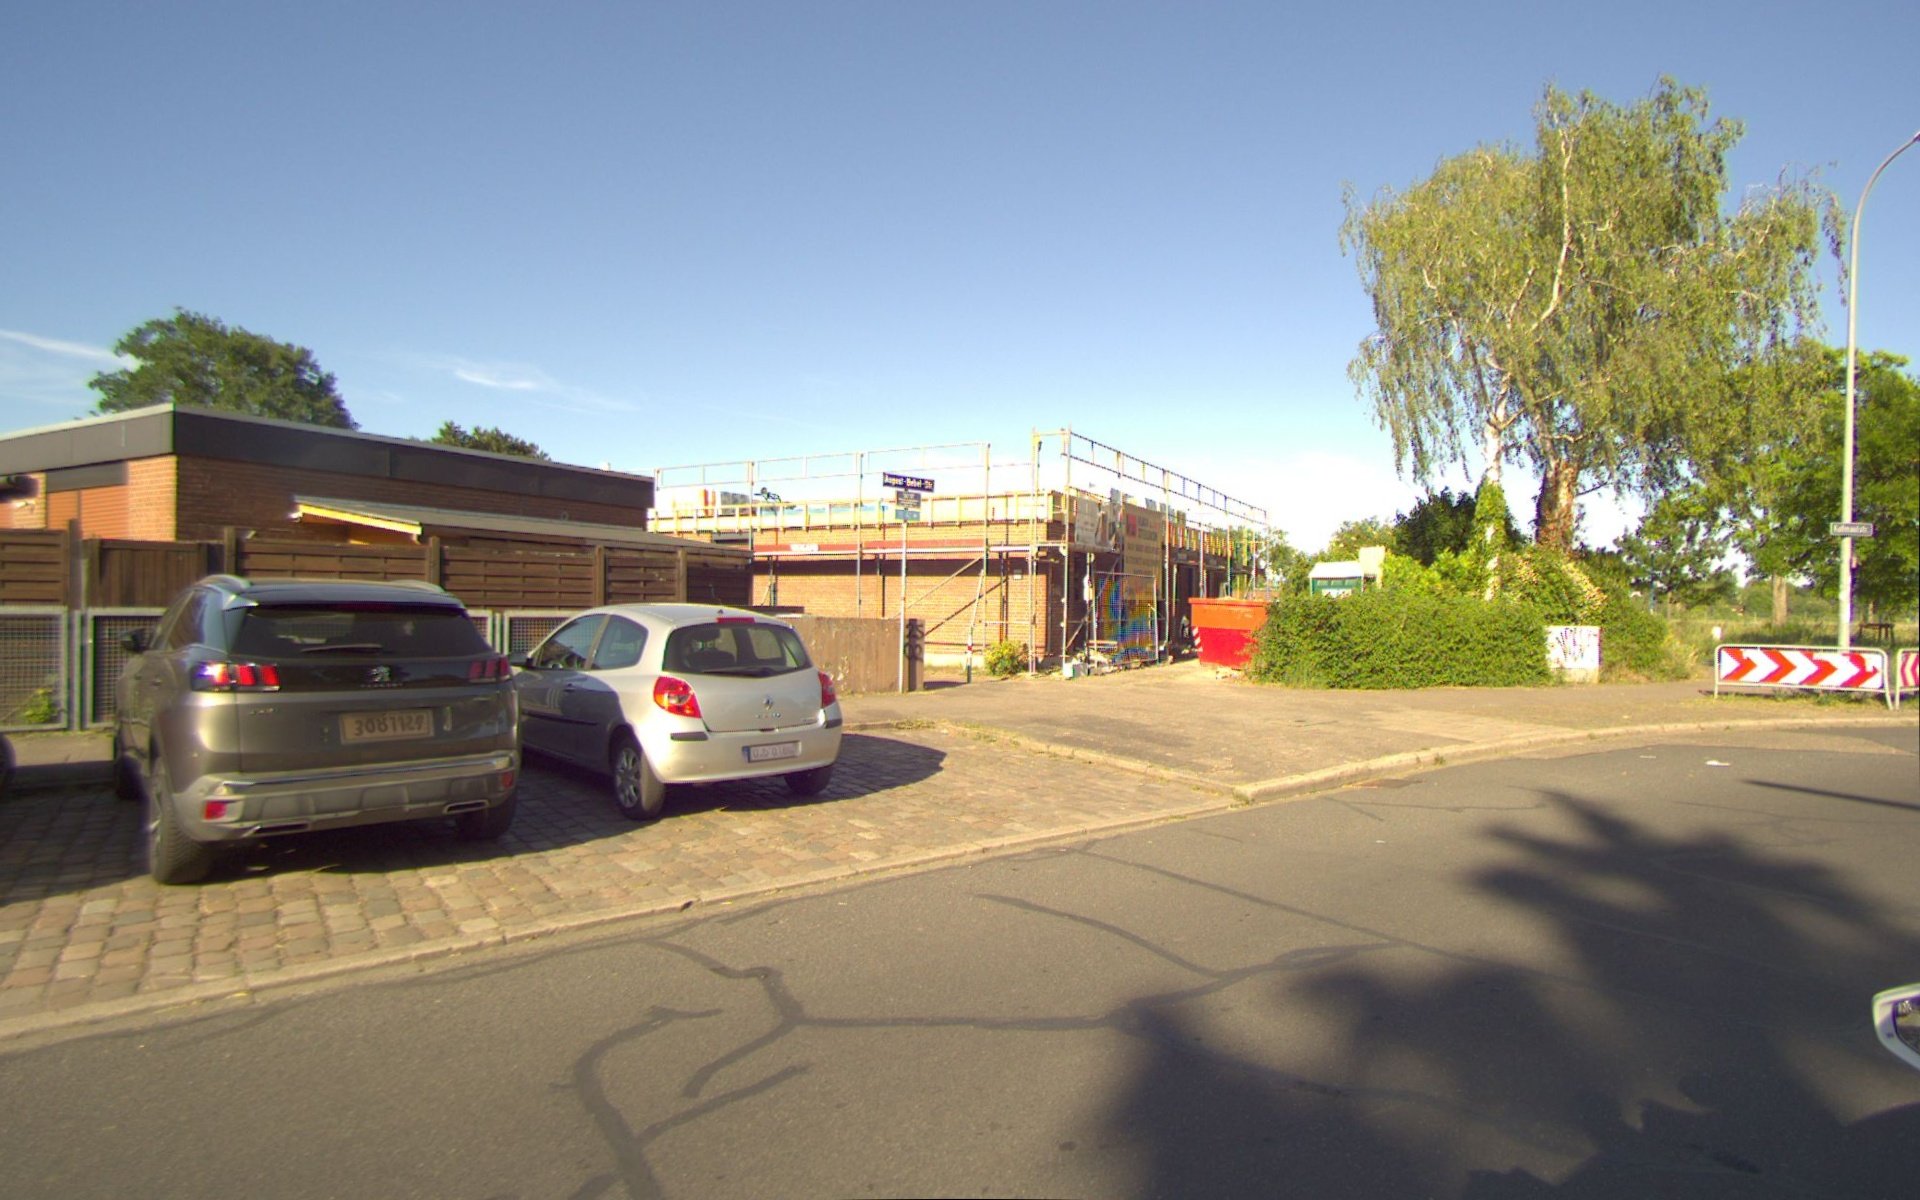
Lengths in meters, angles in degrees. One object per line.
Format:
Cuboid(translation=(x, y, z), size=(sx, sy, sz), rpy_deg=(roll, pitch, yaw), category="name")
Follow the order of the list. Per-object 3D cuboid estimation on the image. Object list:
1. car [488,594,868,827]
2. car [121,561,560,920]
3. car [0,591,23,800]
Cuboid(translation=(-2.552, 0.738, 8.554), size=(1.623, 1.478, 3.651), rpy_deg=(1, 1, -43), category="car")
Cuboid(translation=(-4.392, 0.626, 6.823), size=(1.806, 1.634, 3.949), rpy_deg=(1, 2, -43), category="car")
Cuboid(translation=(-6.441, 0.677, 5.305), size=(1.716, 1.362, 3.586), rpy_deg=(1, 2, -36), category="car")
